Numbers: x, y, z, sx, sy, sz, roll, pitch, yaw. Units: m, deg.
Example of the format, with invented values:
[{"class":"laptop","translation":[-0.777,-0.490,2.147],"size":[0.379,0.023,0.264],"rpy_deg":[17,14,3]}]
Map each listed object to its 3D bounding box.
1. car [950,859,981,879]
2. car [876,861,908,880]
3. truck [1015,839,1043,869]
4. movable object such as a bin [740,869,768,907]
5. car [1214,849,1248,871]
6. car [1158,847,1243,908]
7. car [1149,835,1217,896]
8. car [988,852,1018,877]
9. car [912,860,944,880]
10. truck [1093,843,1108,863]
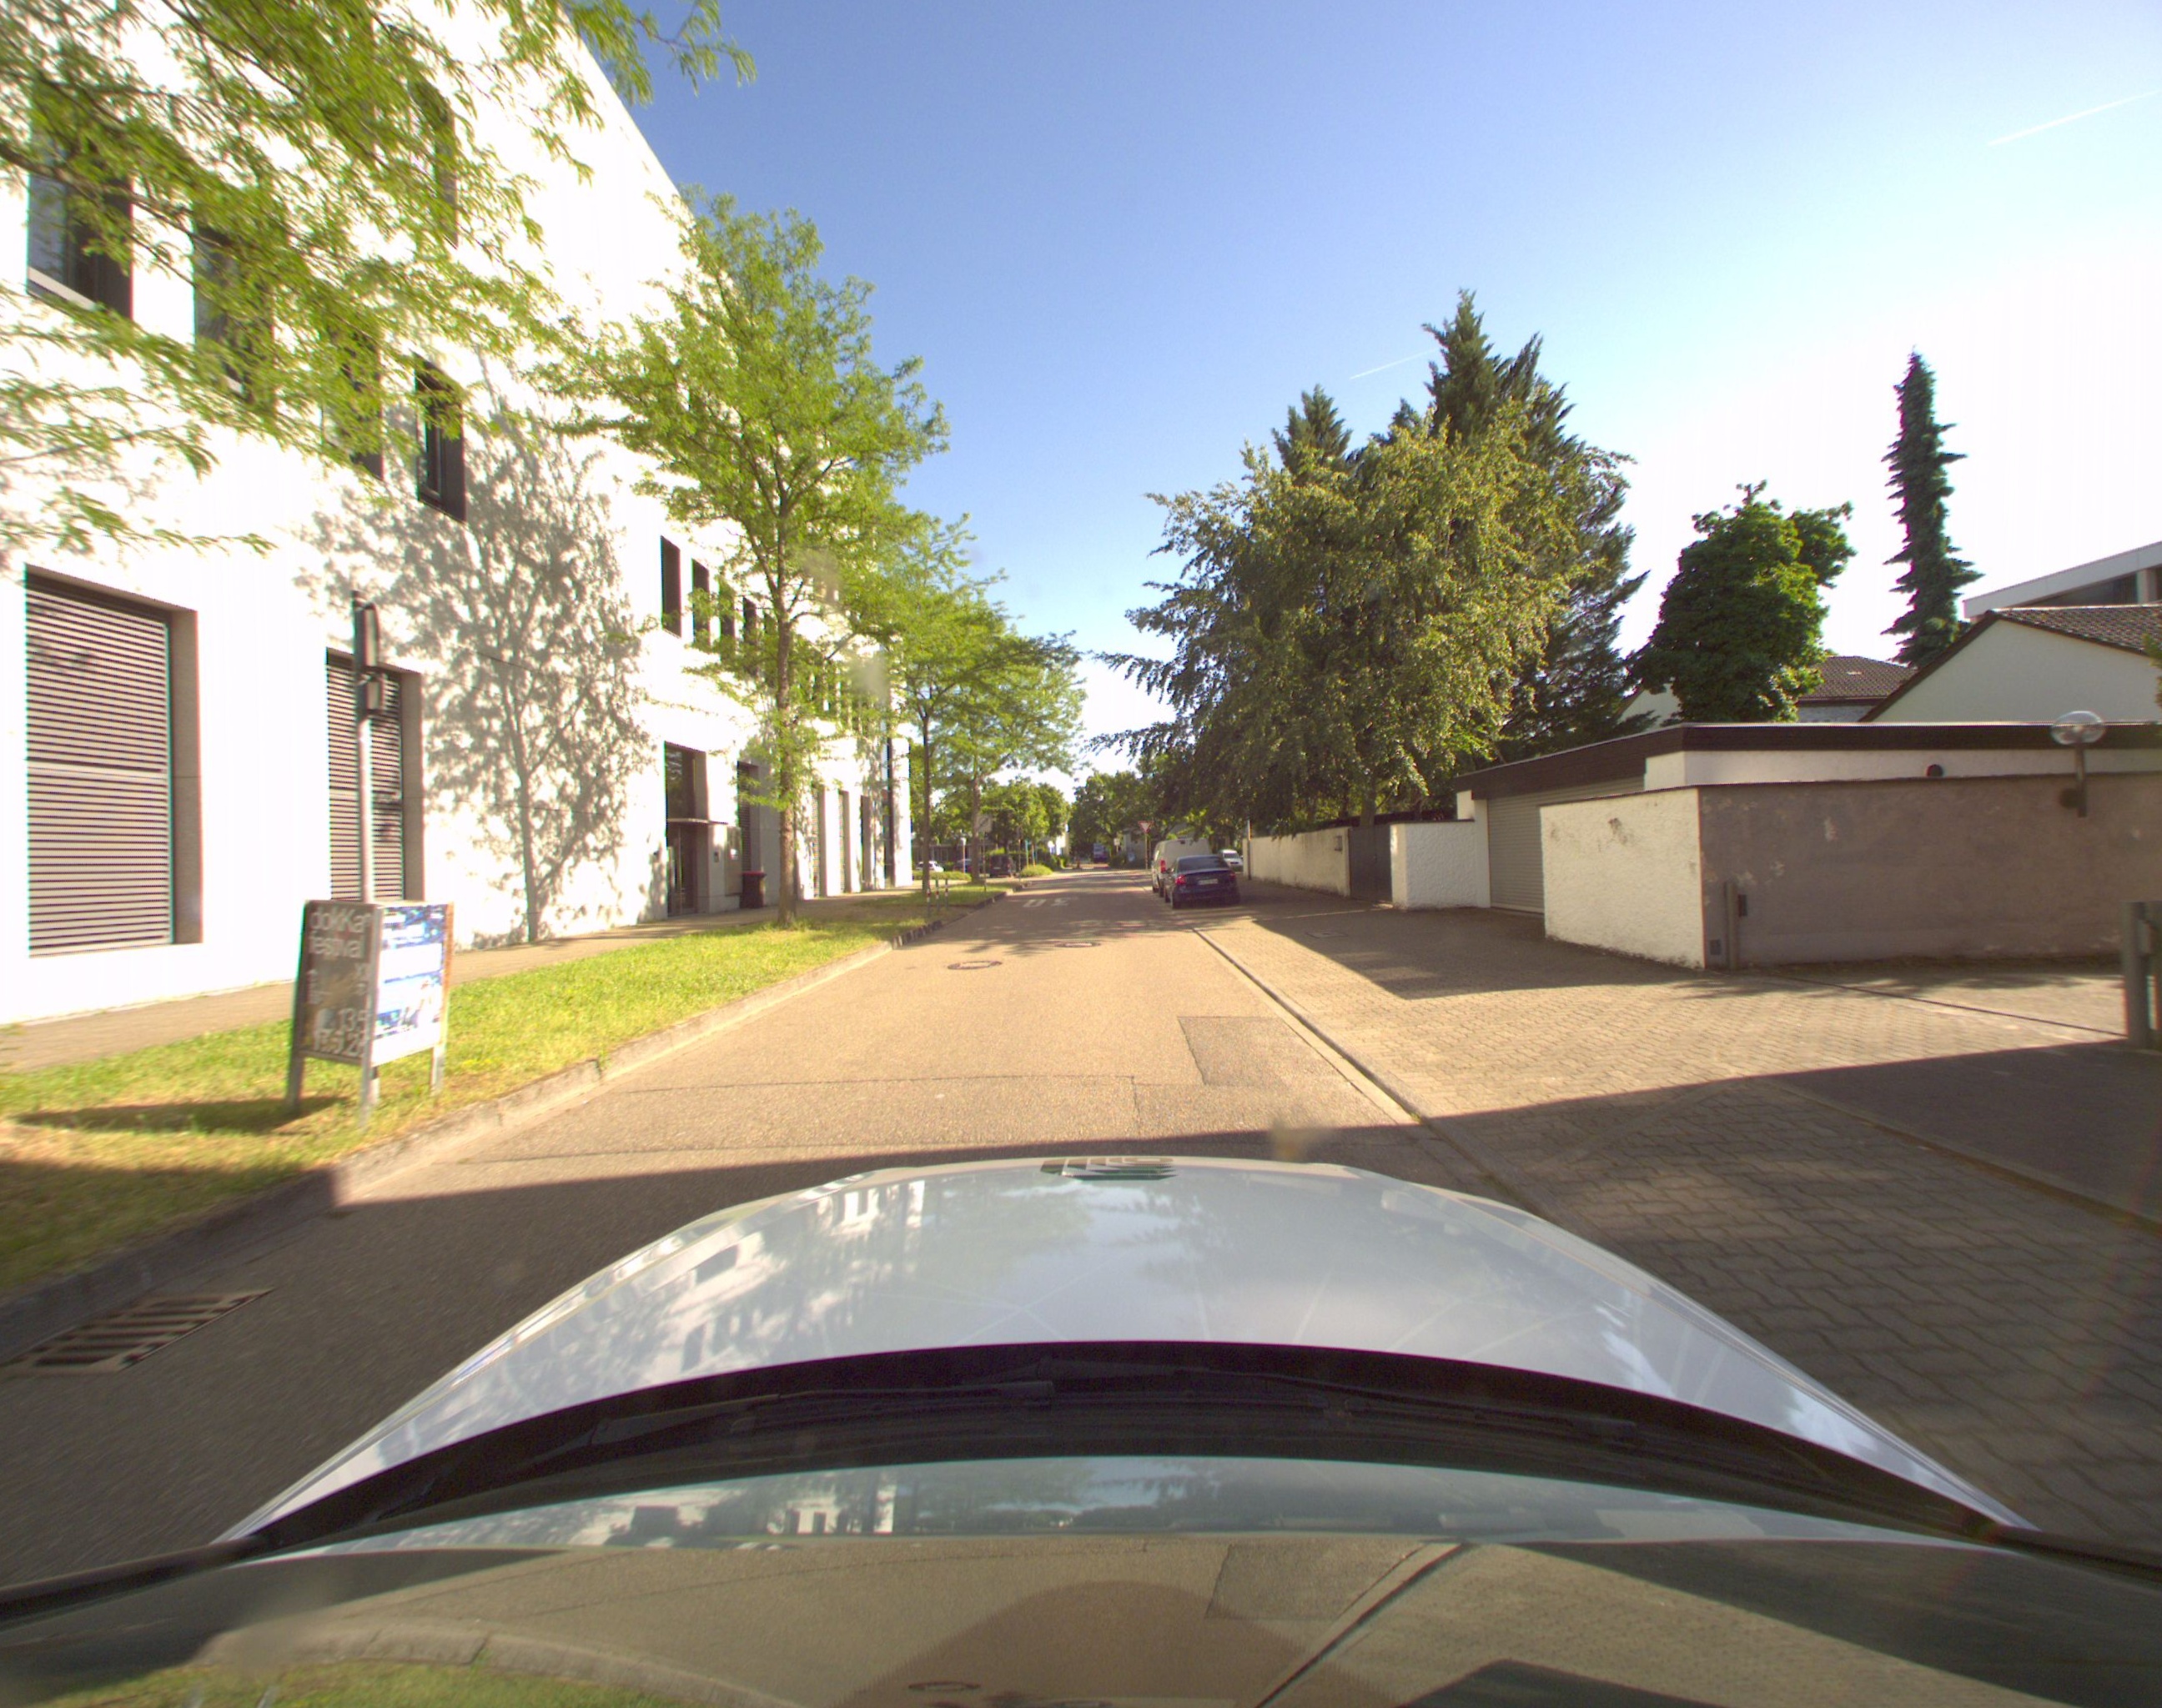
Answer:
[{"class":"car","translation":[-9.201,1.166,65.231],"size":[1.817,1.406,4.168],"rpy_deg":[-2,1,0]},{"class":"car","translation":[-15.033,1.323,64.972],"size":[1.662,1.426,3.911],"rpy_deg":[-1,0,0]},{"class":"truck","translation":[-6.702,-0.003,106.491],"size":[2.791,3.806,6.930],"rpy_deg":[-1,0,3]},{"class":"movable object such as a bin","translation":[-9.365,0.964,23.338],"size":[0.591,1.040,0.543],"rpy_deg":[-1,0,-1]},{"class":"car","translation":[11.917,0.453,64.890],"size":[1.817,1.598,4.167],"rpy_deg":[-2,1,0]},{"class":"car","translation":[3.246,0.599,22.904],"size":[1.819,1.423,4.285],"rpy_deg":[-5,0,2]},{"class":"car","translation":[3.549,0.387,29.219],"size":[1.891,1.914,5.151],"rpy_deg":[-2,0,2]},{"class":"car","translation":[-6.195,0.819,65.225],"size":[1.867,1.846,4.170],"rpy_deg":[-2,1,1]},{"class":"car","translation":[-12.282,1.247,65.478],"size":[1.797,1.436,3.911],"rpy_deg":[-1,1,0]},{"class":"truck","translation":[3.826,-0.216,159.912],"size":[2.749,3.869,9.333],"rpy_deg":[-1,0,2]}]
